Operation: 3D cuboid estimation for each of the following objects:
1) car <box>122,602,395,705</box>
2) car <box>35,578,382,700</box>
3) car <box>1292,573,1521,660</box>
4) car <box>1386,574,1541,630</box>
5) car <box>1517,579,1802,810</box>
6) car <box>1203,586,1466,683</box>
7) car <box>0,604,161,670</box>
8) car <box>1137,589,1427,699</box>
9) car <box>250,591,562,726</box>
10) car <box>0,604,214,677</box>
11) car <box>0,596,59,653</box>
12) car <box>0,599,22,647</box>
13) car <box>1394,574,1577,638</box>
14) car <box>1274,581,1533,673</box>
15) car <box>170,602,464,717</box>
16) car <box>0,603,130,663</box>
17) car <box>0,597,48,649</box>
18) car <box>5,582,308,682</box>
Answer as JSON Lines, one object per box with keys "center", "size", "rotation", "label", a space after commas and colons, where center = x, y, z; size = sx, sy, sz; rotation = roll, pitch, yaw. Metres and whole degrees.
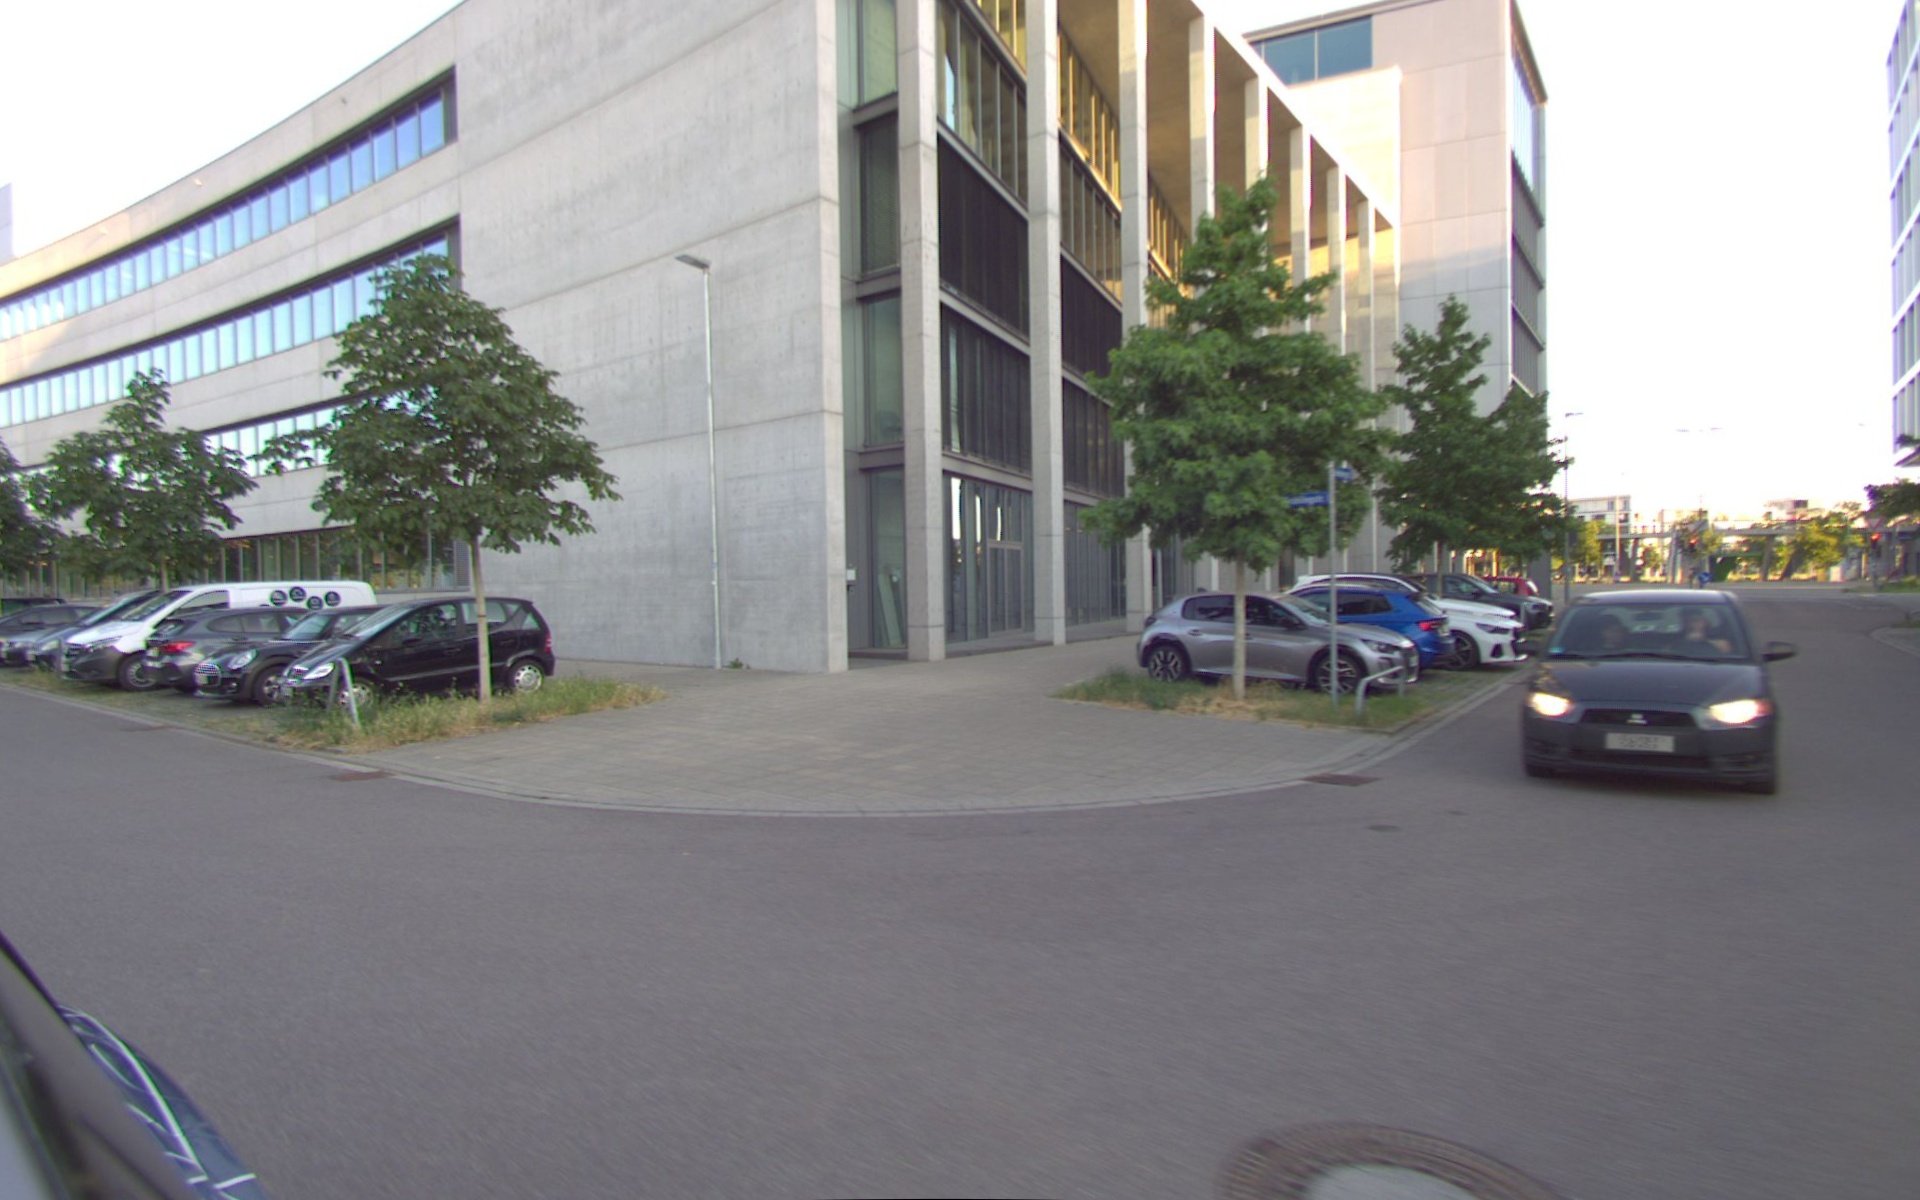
{"center": [-12.311, 0.857, 17.926], "size": [1.724, 1.435, 3.610], "rotation": [-1, 2, 39], "label": "car"}
{"center": [-14.349, 0.623, 19.670], "size": [1.885, 1.895, 5.026], "rotation": [-1, 2, 35], "label": "car"}
{"center": [9.211, 0.271, 21.016], "size": [4.127, 1.640, 1.630], "rotation": [1, 2, 35], "label": "car"}
{"center": [14.568, 0.014, 29.352], "size": [3.849, 1.517, 1.630], "rotation": [1, 2, 35], "label": "car"}
{"center": [6.008, 0.608, 8.670], "size": [1.647, 1.506, 3.690], "rotation": [-1, 1, 37], "label": "car"}
{"center": [6.232, 0.498, 17.021], "size": [3.895, 1.439, 1.543], "rotation": [1, 2, 35], "label": "car"}
{"center": [-22.517, 0.908, 25.179], "size": [1.795, 1.370, 3.769], "rotation": [-1, 2, 35], "label": "car"}
{"center": [4.720, 0.564, 15.042], "size": [3.810, 1.396, 1.630], "rotation": [1, 2, 35], "label": "car"}
{"center": [-8.032, 0.749, 14.903], "size": [1.725, 1.559, 3.609], "rotation": [-1, 2, 41], "label": "car"}
{"center": [-20.105, 0.882, 23.744], "size": [1.795, 1.370, 3.769], "rotation": [-1, 2, 35], "label": "car"}
{"center": [-29.325, 0.805, 29.622], "size": [1.792, 1.595, 3.989], "rotation": [-1, 2, 30], "label": "car"}
{"center": [-33.327, 0.865, 32.716], "size": [1.792, 1.595, 3.989], "rotation": [-1, 2, 30], "label": "car"}
{"center": [13.836, 0.108, 26.759], "size": [4.127, 1.585, 1.630], "rotation": [1, 2, 35], "label": "car"}
{"center": [8.091, 0.412, 18.615], "size": [4.127, 1.503, 1.630], "rotation": [1, 2, 35], "label": "car"}
{"center": [-10.230, 0.858, 16.296], "size": [1.725, 1.435, 3.609], "rotation": [-1, 2, 41], "label": "car"}
{"center": [-24.514, 0.888, 26.620], "size": [1.795, 1.370, 3.769], "rotation": [-1, 2, 35], "label": "car"}
{"center": [-31.403, 0.801, 31.567], "size": [1.792, 1.595, 3.989], "rotation": [-1, 2, 30], "label": "car"}
{"center": [-18.044, 0.618, 23.015], "size": [1.885, 1.841, 5.026], "rotation": [-1, 2, 35], "label": "car"}
